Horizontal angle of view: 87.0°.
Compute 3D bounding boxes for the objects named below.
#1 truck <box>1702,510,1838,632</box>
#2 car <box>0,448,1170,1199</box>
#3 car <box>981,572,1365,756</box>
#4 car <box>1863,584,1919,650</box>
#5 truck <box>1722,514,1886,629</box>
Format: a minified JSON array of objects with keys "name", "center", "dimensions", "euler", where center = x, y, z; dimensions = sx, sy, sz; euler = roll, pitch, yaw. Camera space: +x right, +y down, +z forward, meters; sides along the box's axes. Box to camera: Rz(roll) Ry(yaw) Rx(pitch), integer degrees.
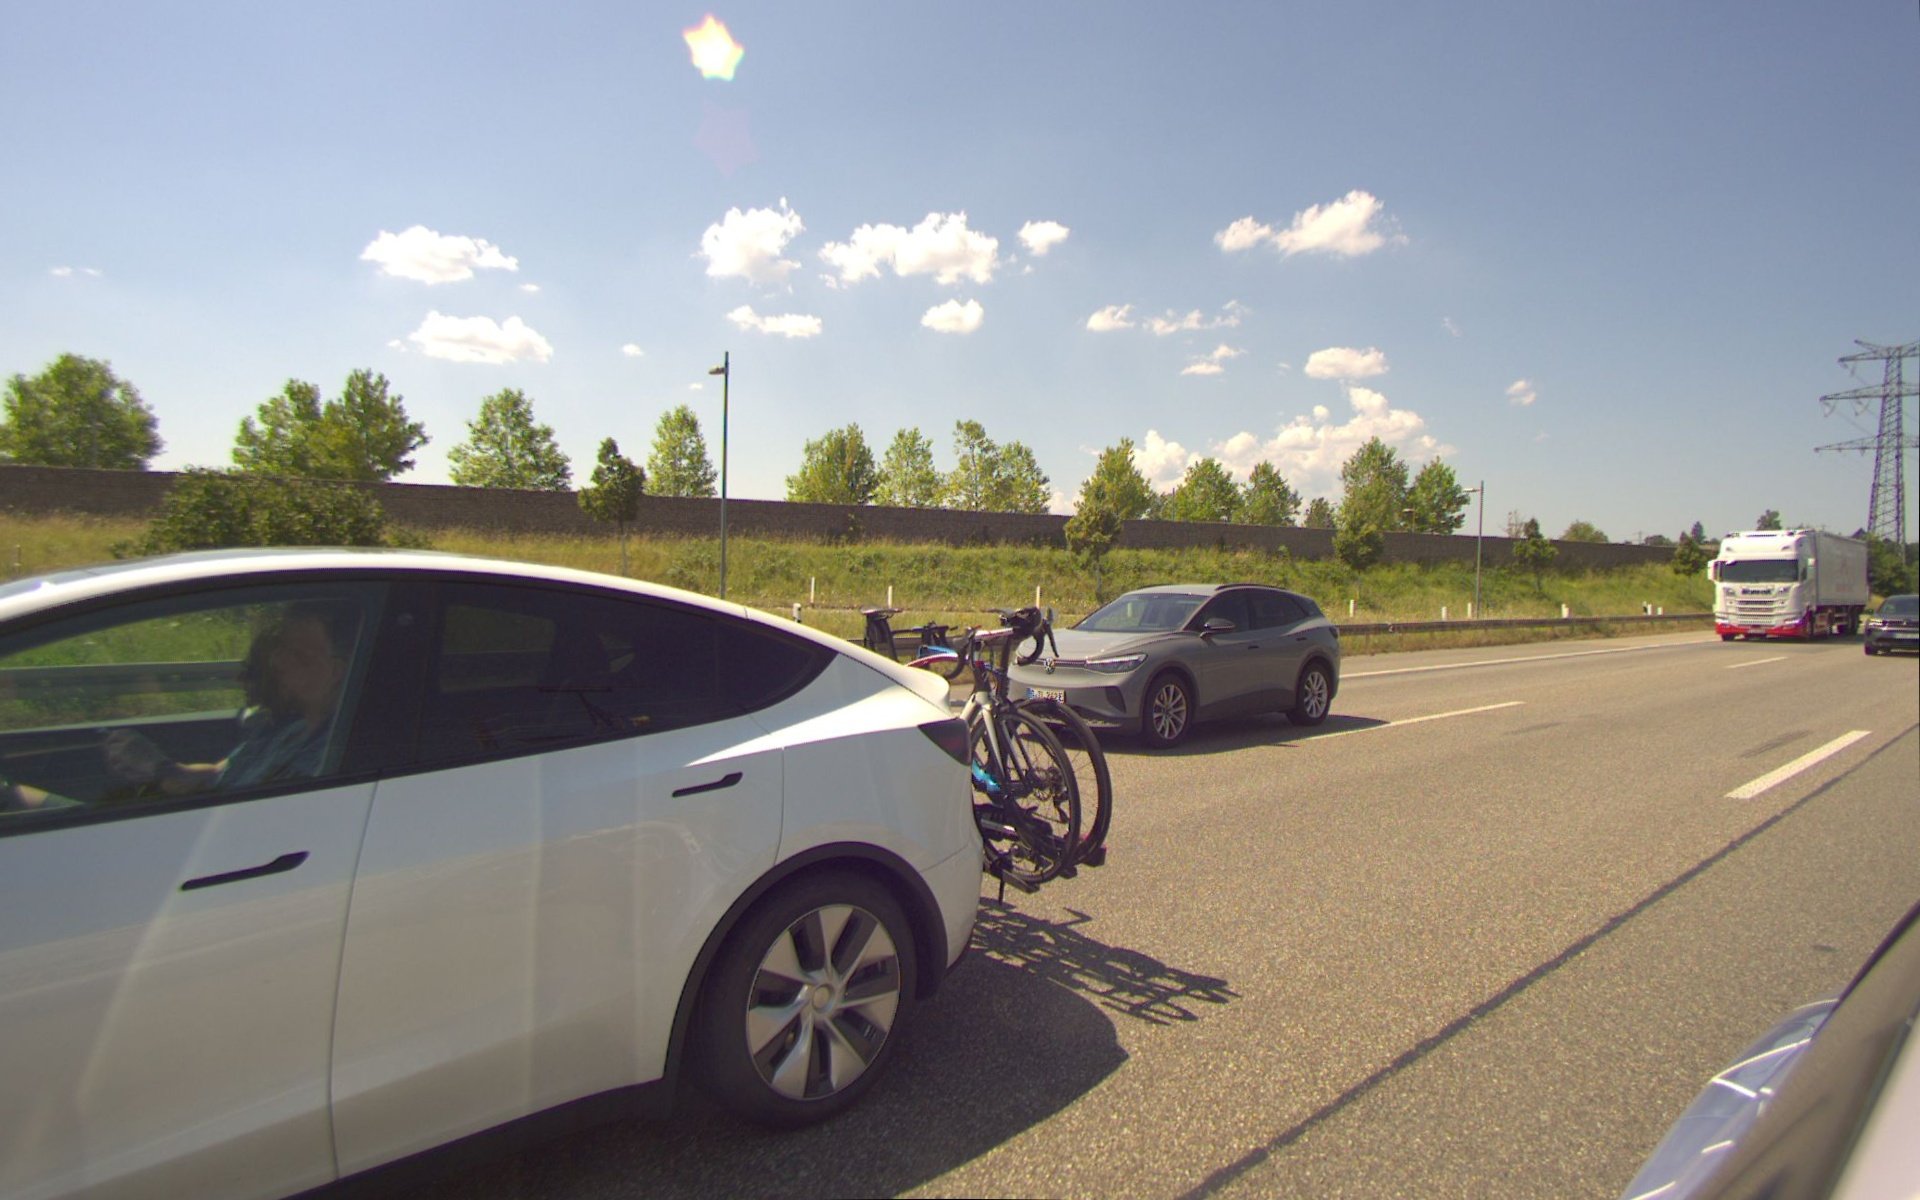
[{"name":"truck","center":[28.410,-0.965,35.489],"dimensions":[3.780,3.957,3.074],"euler":[0,0,-41]},{"name":"car","center":[-1.904,0.572,2.702],"dimensions":[5.504,1.657,1.953],"euler":[-1,0,-42]},{"name":"car","center":[2.529,0.554,11.338],"dimensions":[4.505,1.657,1.871],"euler":[-1,0,-41]},{"name":"car","center":[25.707,0.409,26.905],"dimensions":[3.975,1.667,1.954],"euler":[-1,0,-40]},{"name":"truck","center":[33.642,-1.019,40.043],"dimensions":[12.286,3.957,3.074],"euler":[-1,0,-41]}]
